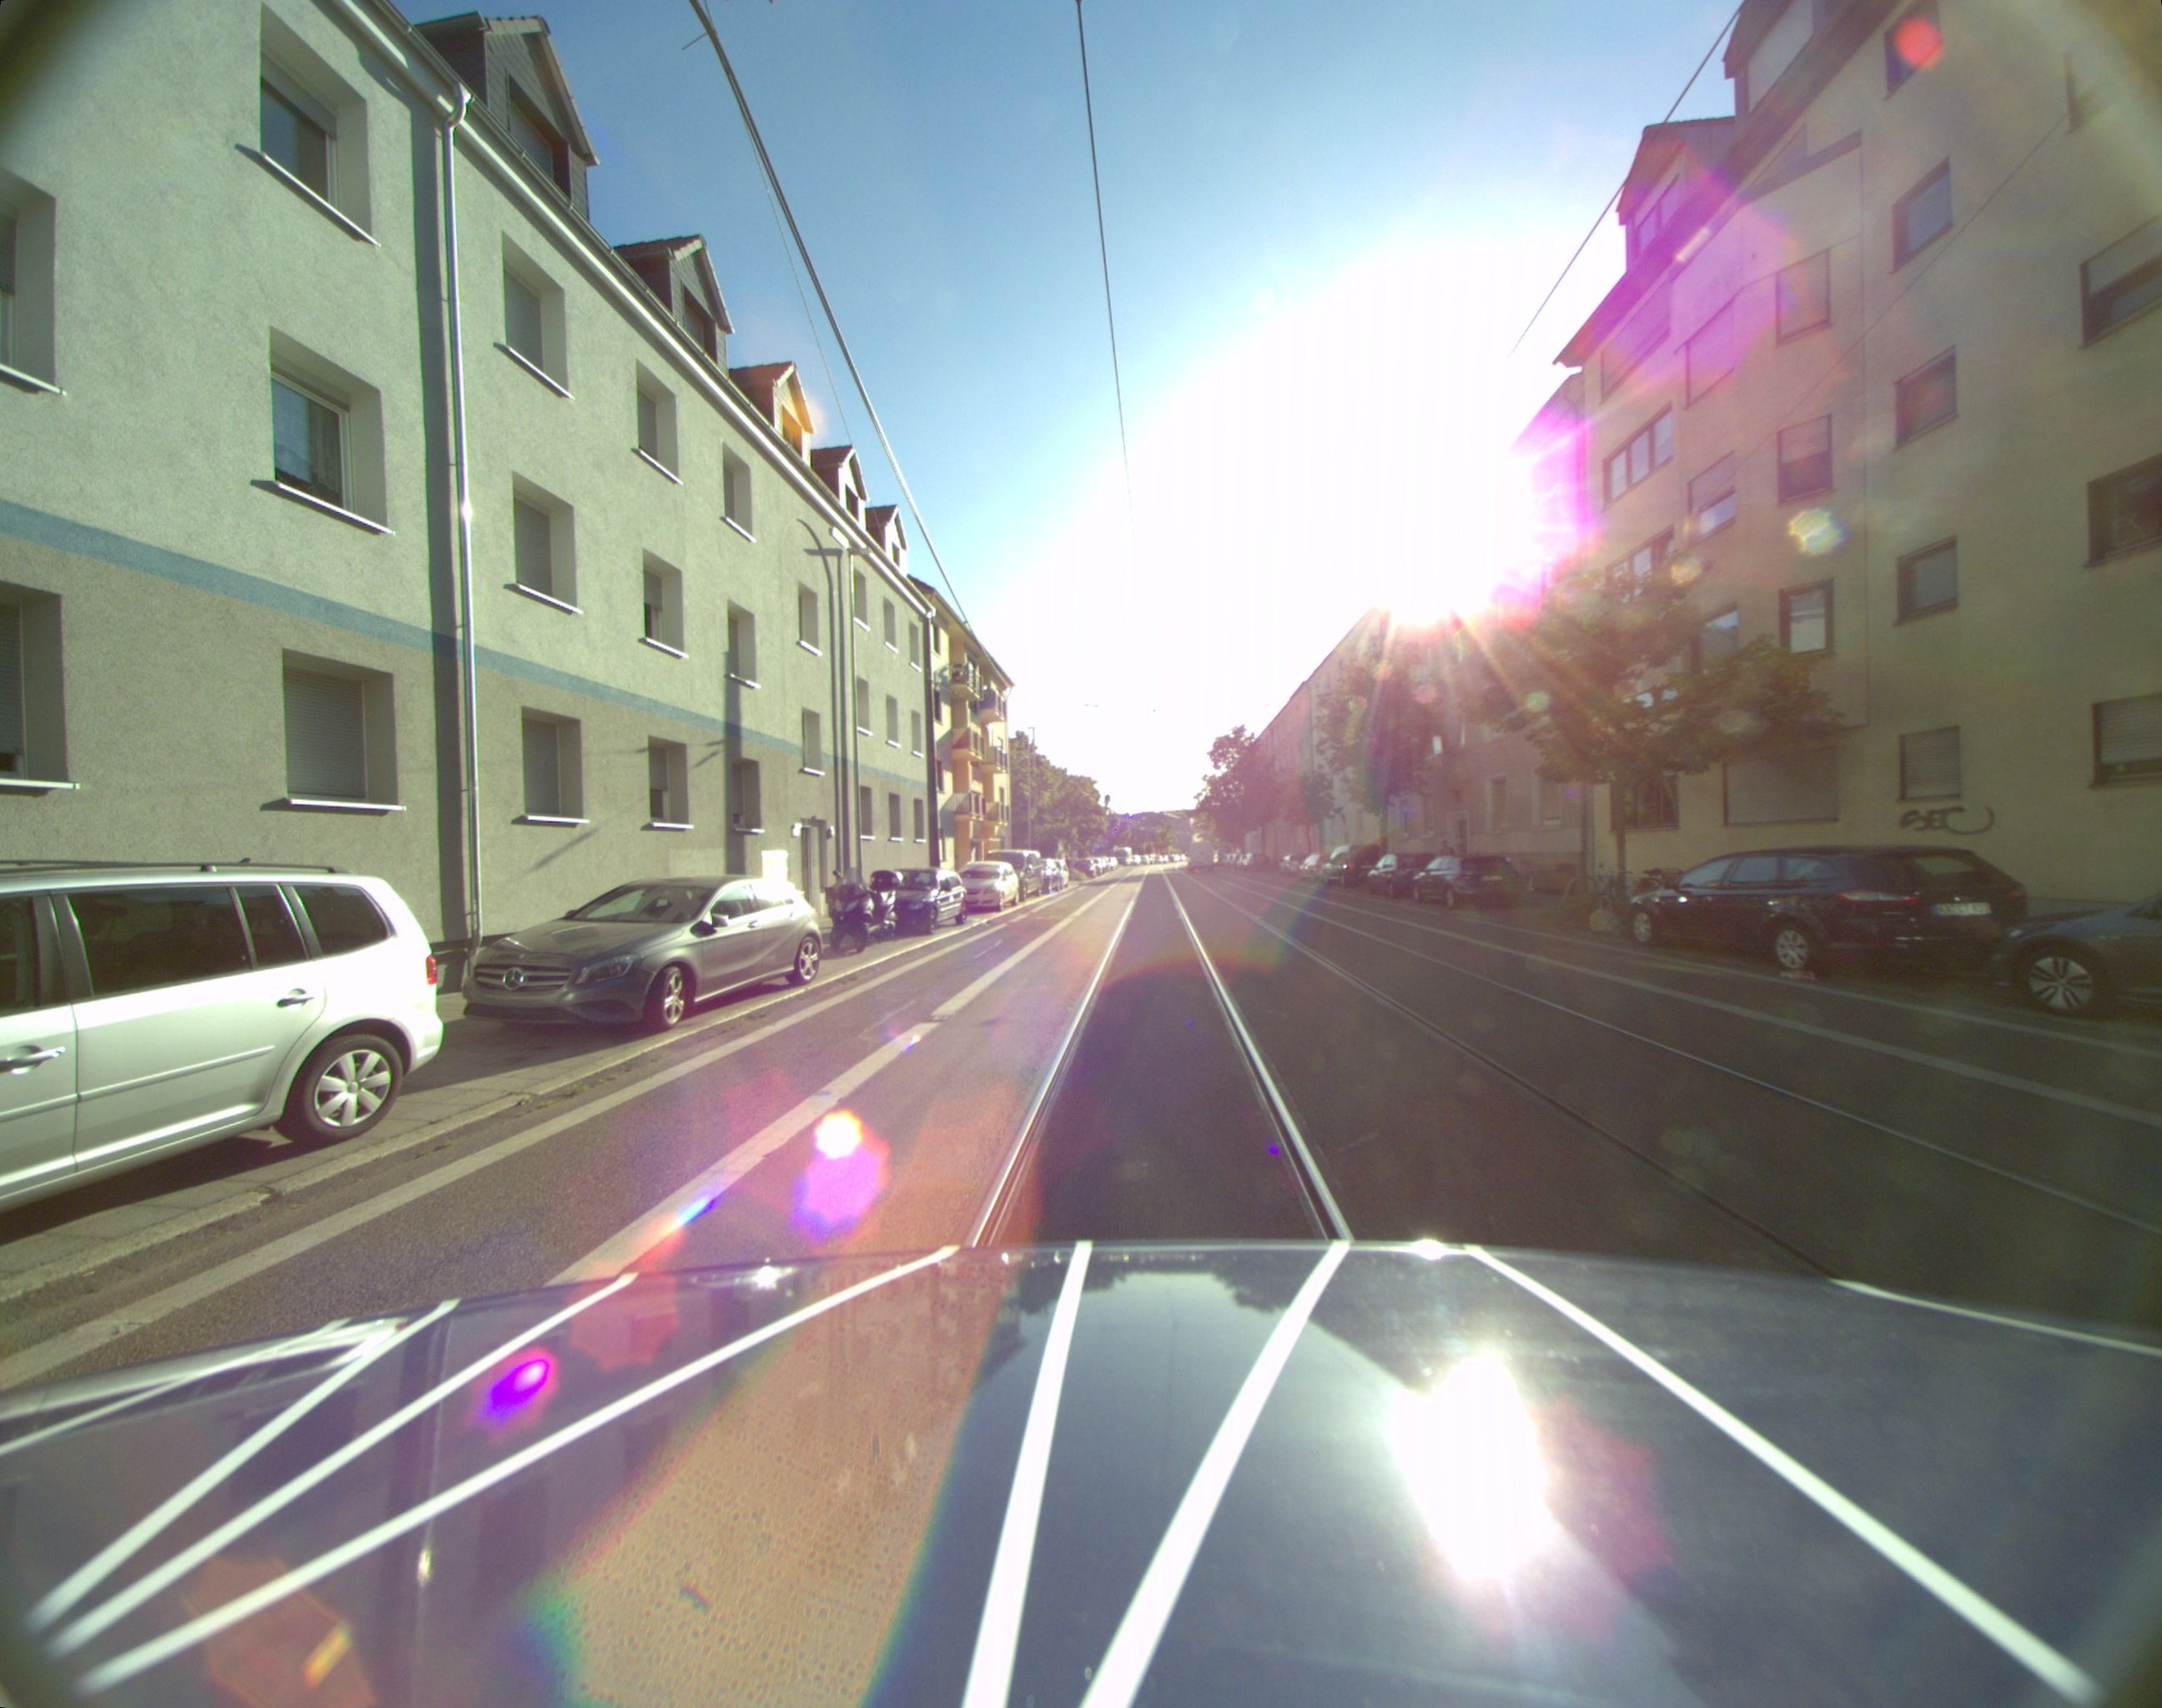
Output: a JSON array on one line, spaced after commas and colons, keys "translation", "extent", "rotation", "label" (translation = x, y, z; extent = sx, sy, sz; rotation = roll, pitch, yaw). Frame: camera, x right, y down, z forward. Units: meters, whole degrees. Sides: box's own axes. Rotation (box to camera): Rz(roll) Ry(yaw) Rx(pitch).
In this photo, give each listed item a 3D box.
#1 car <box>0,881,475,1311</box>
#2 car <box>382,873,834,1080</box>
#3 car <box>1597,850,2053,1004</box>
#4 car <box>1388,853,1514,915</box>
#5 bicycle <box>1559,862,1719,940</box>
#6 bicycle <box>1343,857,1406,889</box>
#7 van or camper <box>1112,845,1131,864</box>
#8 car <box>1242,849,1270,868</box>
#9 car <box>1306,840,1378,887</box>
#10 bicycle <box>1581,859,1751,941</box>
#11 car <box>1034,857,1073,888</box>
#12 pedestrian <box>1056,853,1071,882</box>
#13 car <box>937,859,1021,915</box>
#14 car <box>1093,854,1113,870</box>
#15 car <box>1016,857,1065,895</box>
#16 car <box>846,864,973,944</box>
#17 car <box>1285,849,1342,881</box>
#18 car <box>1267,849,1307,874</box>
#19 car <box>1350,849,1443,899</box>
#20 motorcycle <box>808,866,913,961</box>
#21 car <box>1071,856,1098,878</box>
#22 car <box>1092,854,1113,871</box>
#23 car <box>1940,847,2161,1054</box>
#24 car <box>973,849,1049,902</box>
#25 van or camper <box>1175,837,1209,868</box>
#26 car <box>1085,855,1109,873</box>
[{"translation": [-5.270, 1.028, 3.065], "extent": [1.759, 1.656, 4.627], "rotation": [0, 0, 3], "label": "car"}, {"translation": [-4.635, 1.050, 8.423], "extent": [1.867, 1.546, 4.368], "rotation": [0, 0, 8], "label": "car"}, {"translation": [9.173, 0.746, 10.112], "extent": [1.769, 1.533, 4.735], "rotation": [-2, 0, 6], "label": "car"}, {"translation": [10.260, 0.765, 21.422], "extent": [1.769, 1.464, 4.043], "rotation": [-4, 0, 5], "label": "car"}, {"translation": [10.136, 0.841, 13.873], "extent": [2.297, 1.326, 0.700], "rotation": [-2, 1, 6], "label": "bicycle"}, {"translation": [11.563, 0.750, 29.988], "extent": [2.116, 1.099, 0.746], "rotation": [-4, 0, 4], "label": "bicycle"}, {"translation": [5.819, 0.043, 108.652], "extent": [2.089, 2.548, 5.696], "rotation": [-2, 1, 8], "label": "van or camper"}, {"translation": [15.319, 0.379, 66.613], "extent": [1.687, 1.614, 4.049], "rotation": [-2, 0, 2], "label": "car"}, {"translation": [11.508, 0.408, 33.832], "extent": [1.769, 1.835, 4.424], "rotation": [-4, 0, 3], "label": "car"}, {"translation": [10.068, 0.780, 13.142], "extent": [2.297, 1.326, 0.700], "rotation": [-2, 1, 6], "label": "bicycle"}, {"translation": [-1.385, 0.935, 39.533], "extent": [1.556, 1.533, 3.633], "rotation": [0, 0, 6], "label": "car"}, {"translation": [-1.118, 0.856, 48.386], "extent": [0.800, 1.800, 0.946], "rotation": [0, 1, 6], "label": "pedestrian"}, {"translation": [-3.119, 0.967, 23.993], "extent": [1.804, 1.562, 3.905], "rotation": [0, 0, 5], "label": "car"}, {"translation": [2.303, 0.760, 78.130], "extent": [1.828, 1.562, 4.479], "rotation": [0, 0, 5], "label": "car"}, {"translation": [-1.776, 0.952, 34.644], "extent": [1.612, 1.562, 4.220], "rotation": [0, 0, 6], "label": "car"}, {"translation": [-3.795, 1.046, 17.493], "extent": [1.612, 1.562, 3.906], "rotation": [0, 0, 7], "label": "car"}, {"translation": [11.949, 0.520, 39.379], "extent": [1.769, 1.464, 4.860], "rotation": [-2, 0, 4], "label": "car"}, {"translation": [12.995, 0.431, 48.181], "extent": [1.768, 1.464, 4.755], "rotation": [-2, 0, 8], "label": "car"}, {"translation": [10.763, 0.624, 26.232], "extent": [1.769, 1.464, 4.182], "rotation": [-4, 0, 6], "label": "car"}, {"translation": [-3.968, 1.013, 13.998], "extent": [0.807, 1.513, 2.710], "rotation": [0, 0, 8], "label": "motorcycle"}, {"translation": [0.337, 0.955, 57.766], "extent": [1.612, 1.562, 4.480], "rotation": [0, 0, 6], "label": "car"}, {"translation": [2.110, 0.833, 73.344], "extent": [1.828, 1.562, 4.479], "rotation": [0, 0, 5], "label": "car"}, {"translation": [9.074, 0.734, 5.236], "extent": [1.739, 1.533, 4.130], "rotation": [-2, 0, 3], "label": "car"}, {"translation": [-2.641, 0.758, 29.881], "extent": [1.933, 1.910, 5.006], "rotation": [0, 0, 7], "label": "car"}, {"translation": [9.655, -0.126, 66.663], "extent": [2.375, 2.538, 6.836], "rotation": [-2, 0, 4], "label": "van or camper"}, {"translation": [1.492, 0.850, 67.939], "extent": [1.828, 1.562, 4.479], "rotation": [0, 0, 5], "label": "car"}]
